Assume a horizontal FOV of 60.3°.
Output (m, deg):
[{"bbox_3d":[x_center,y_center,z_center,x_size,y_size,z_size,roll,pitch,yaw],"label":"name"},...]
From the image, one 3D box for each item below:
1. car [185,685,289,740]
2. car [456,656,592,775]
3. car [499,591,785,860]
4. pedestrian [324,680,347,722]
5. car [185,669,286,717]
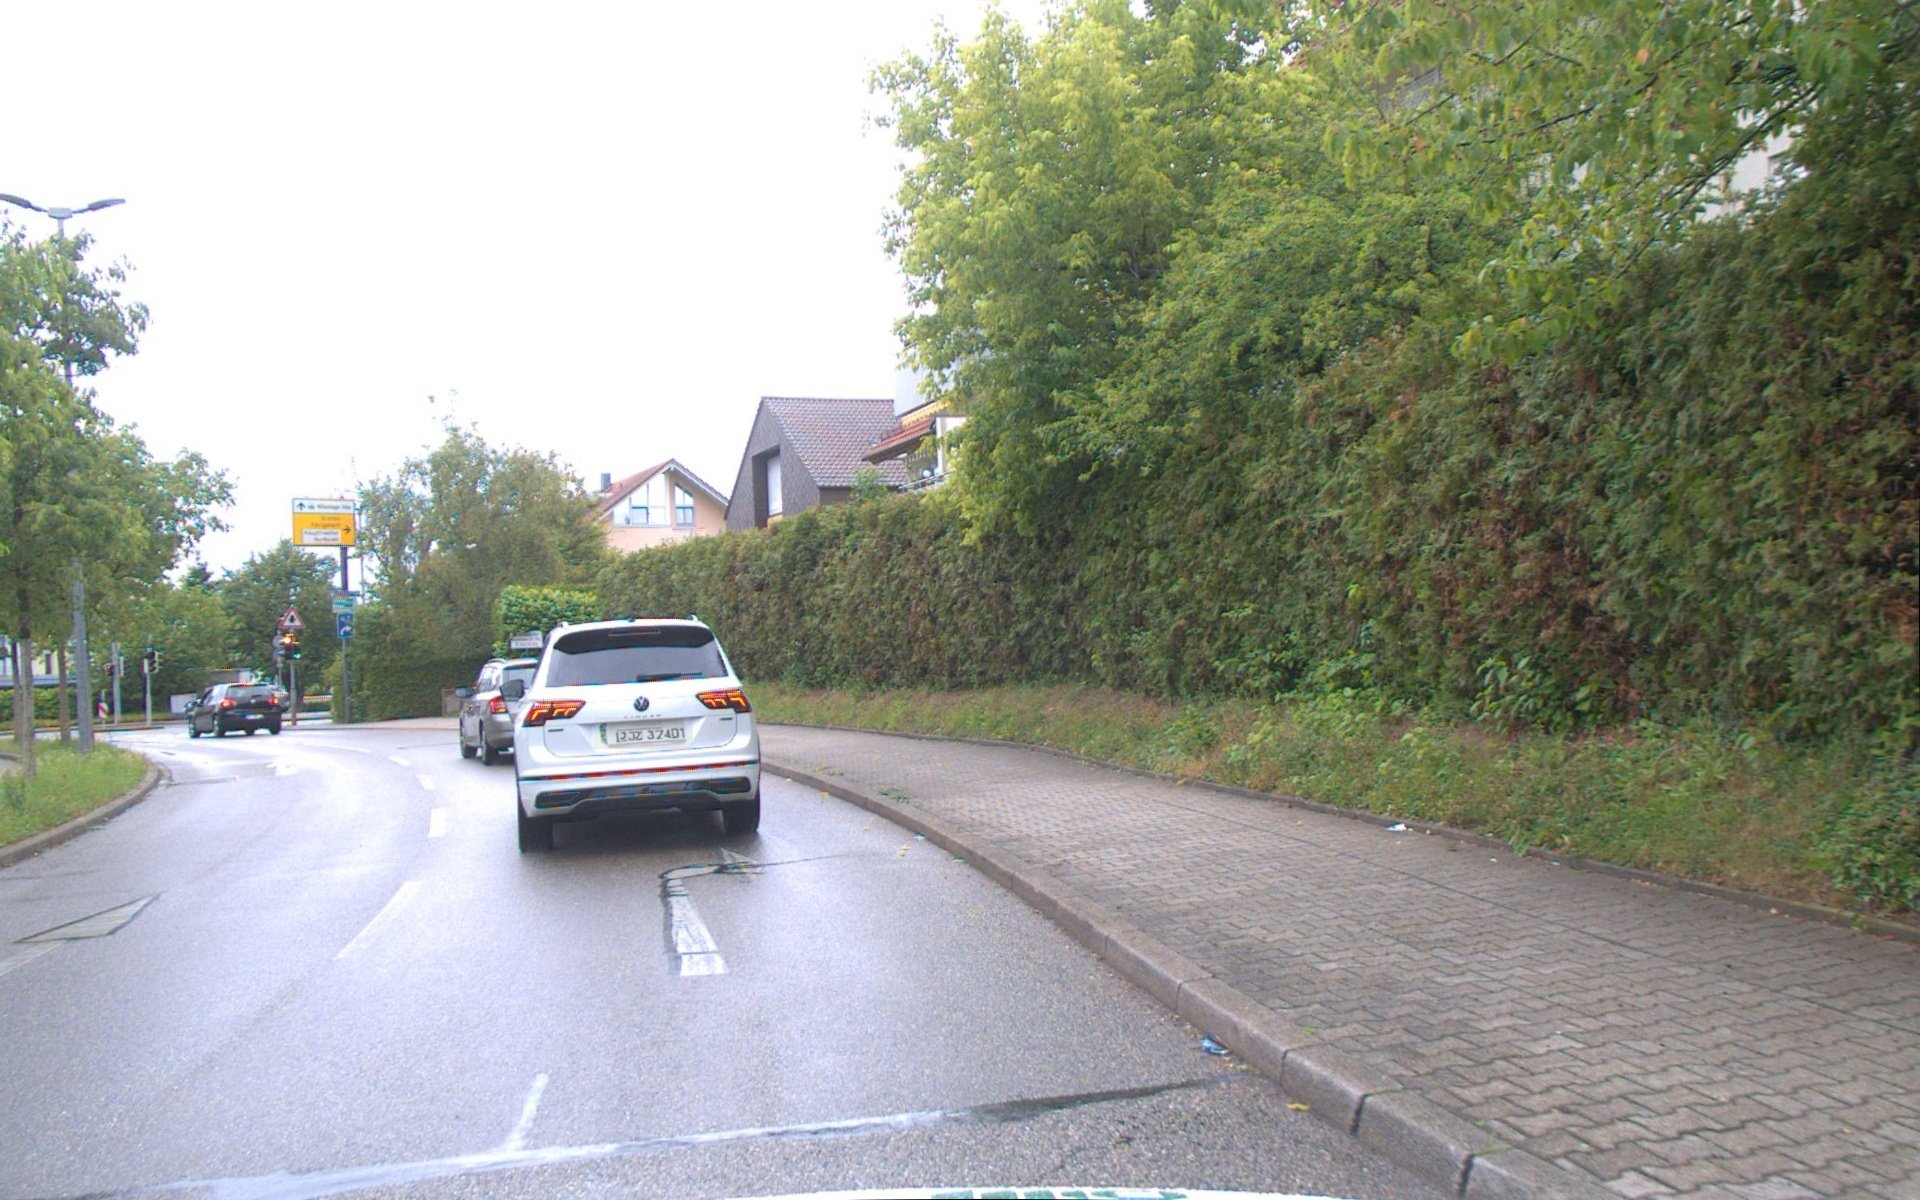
[{"bbox_3d":[-20.824,3.234,47.560,1.838,1.454,3.944,0,-4,-38],"label":"car"},{"bbox_3d":[-6.556,1.633,24.608,1.738,1.536,3.979,1,-1,-18],"label":"car"},{"bbox_3d":[-2.671,0.930,13.518,1.888,1.752,4.249,-2,-2,-14],"label":"car"},{"bbox_3d":[-30.682,4.960,81.263,0.834,2.049,0.797,-3,-2,42],"label":"pedestrian"},{"bbox_3d":[-32.879,4.214,75.187,3.923,2.049,1.971,1,-1,-17],"label":"car"}]
